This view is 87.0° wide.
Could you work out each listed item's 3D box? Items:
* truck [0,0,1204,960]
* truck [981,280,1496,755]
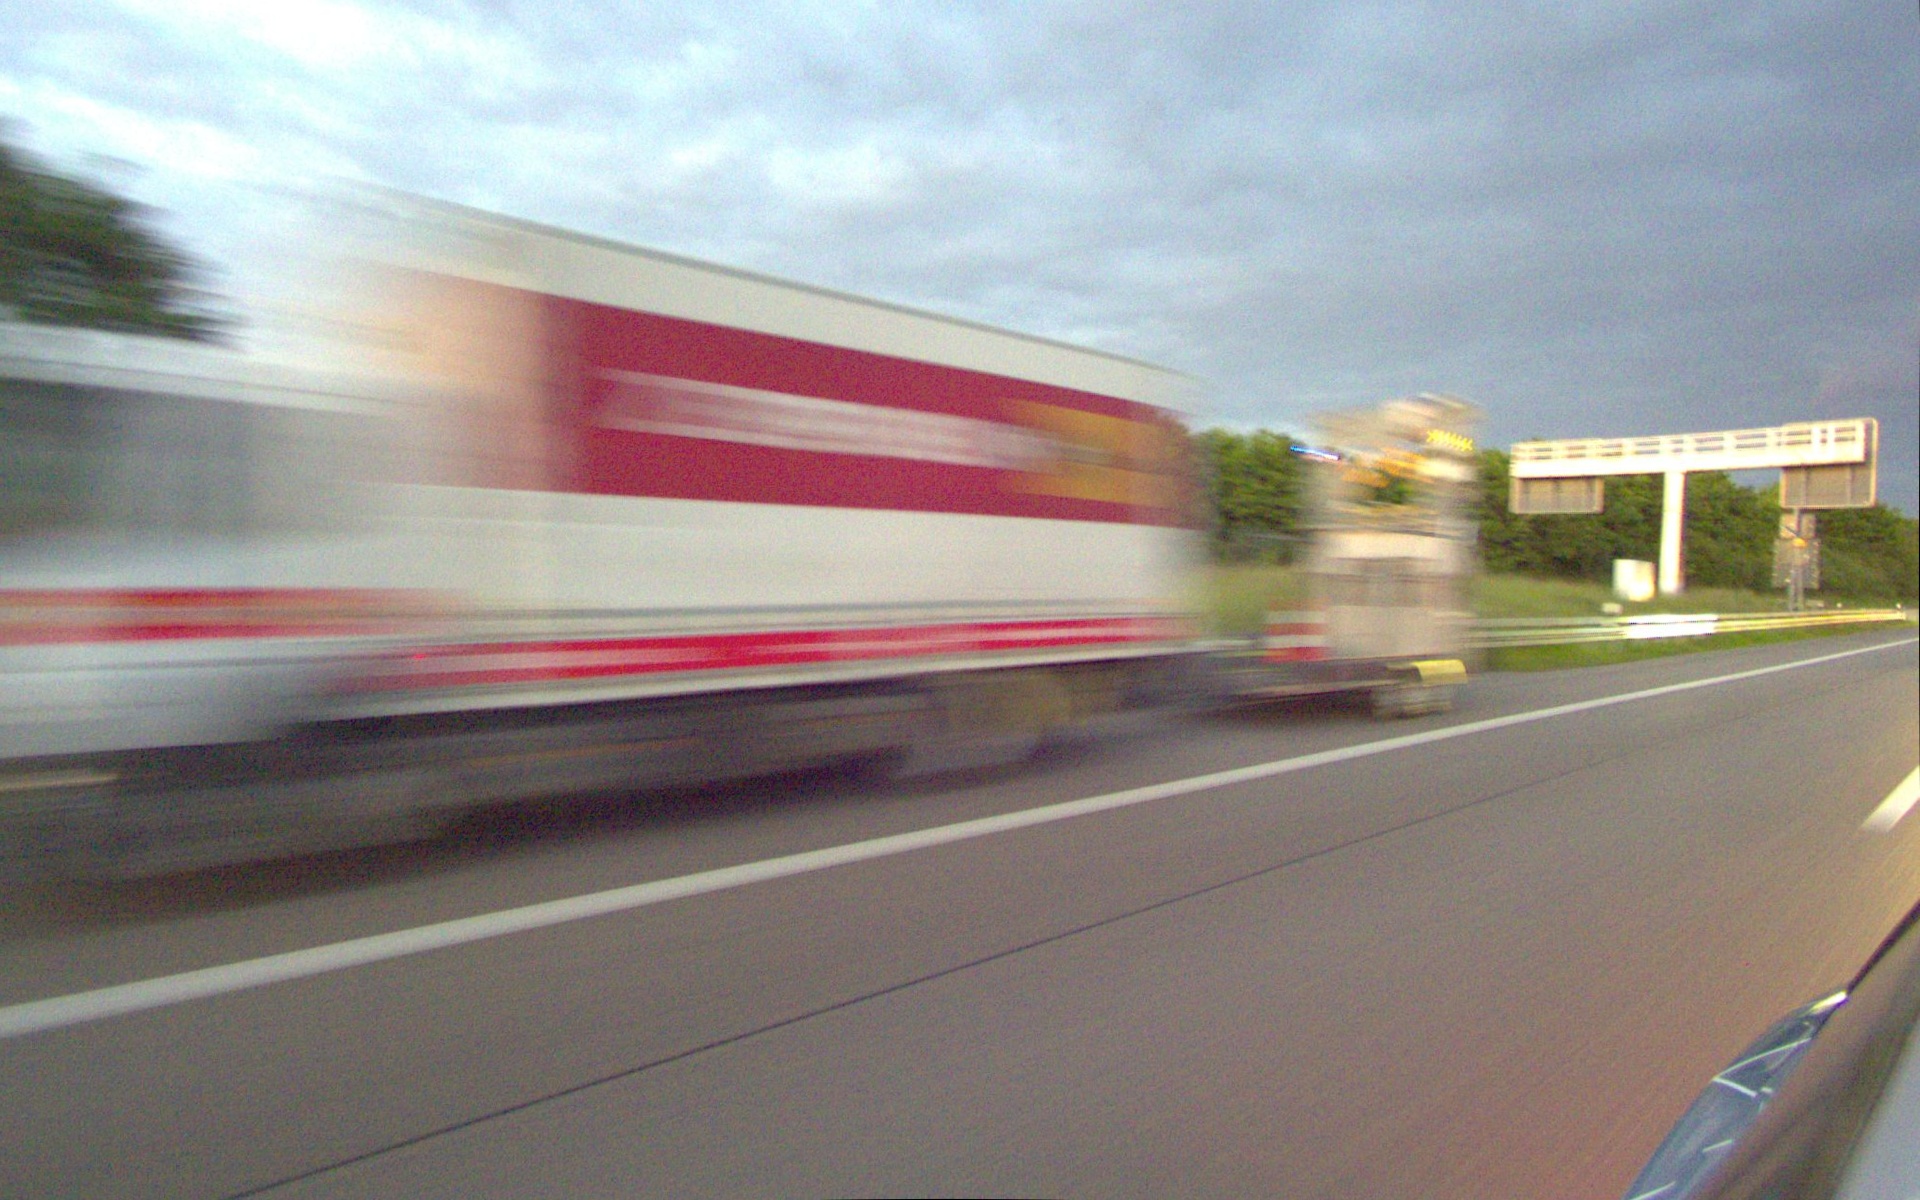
[{"bbox_3d":[-2.244,-0.770,6.902,8.990,4.163,2.918,0,1,-41],"label":"truck"},{"bbox_3d":[3.529,-0.753,11.905,6.300,4.109,2.793,0,1,-41],"label":"truck"}]
